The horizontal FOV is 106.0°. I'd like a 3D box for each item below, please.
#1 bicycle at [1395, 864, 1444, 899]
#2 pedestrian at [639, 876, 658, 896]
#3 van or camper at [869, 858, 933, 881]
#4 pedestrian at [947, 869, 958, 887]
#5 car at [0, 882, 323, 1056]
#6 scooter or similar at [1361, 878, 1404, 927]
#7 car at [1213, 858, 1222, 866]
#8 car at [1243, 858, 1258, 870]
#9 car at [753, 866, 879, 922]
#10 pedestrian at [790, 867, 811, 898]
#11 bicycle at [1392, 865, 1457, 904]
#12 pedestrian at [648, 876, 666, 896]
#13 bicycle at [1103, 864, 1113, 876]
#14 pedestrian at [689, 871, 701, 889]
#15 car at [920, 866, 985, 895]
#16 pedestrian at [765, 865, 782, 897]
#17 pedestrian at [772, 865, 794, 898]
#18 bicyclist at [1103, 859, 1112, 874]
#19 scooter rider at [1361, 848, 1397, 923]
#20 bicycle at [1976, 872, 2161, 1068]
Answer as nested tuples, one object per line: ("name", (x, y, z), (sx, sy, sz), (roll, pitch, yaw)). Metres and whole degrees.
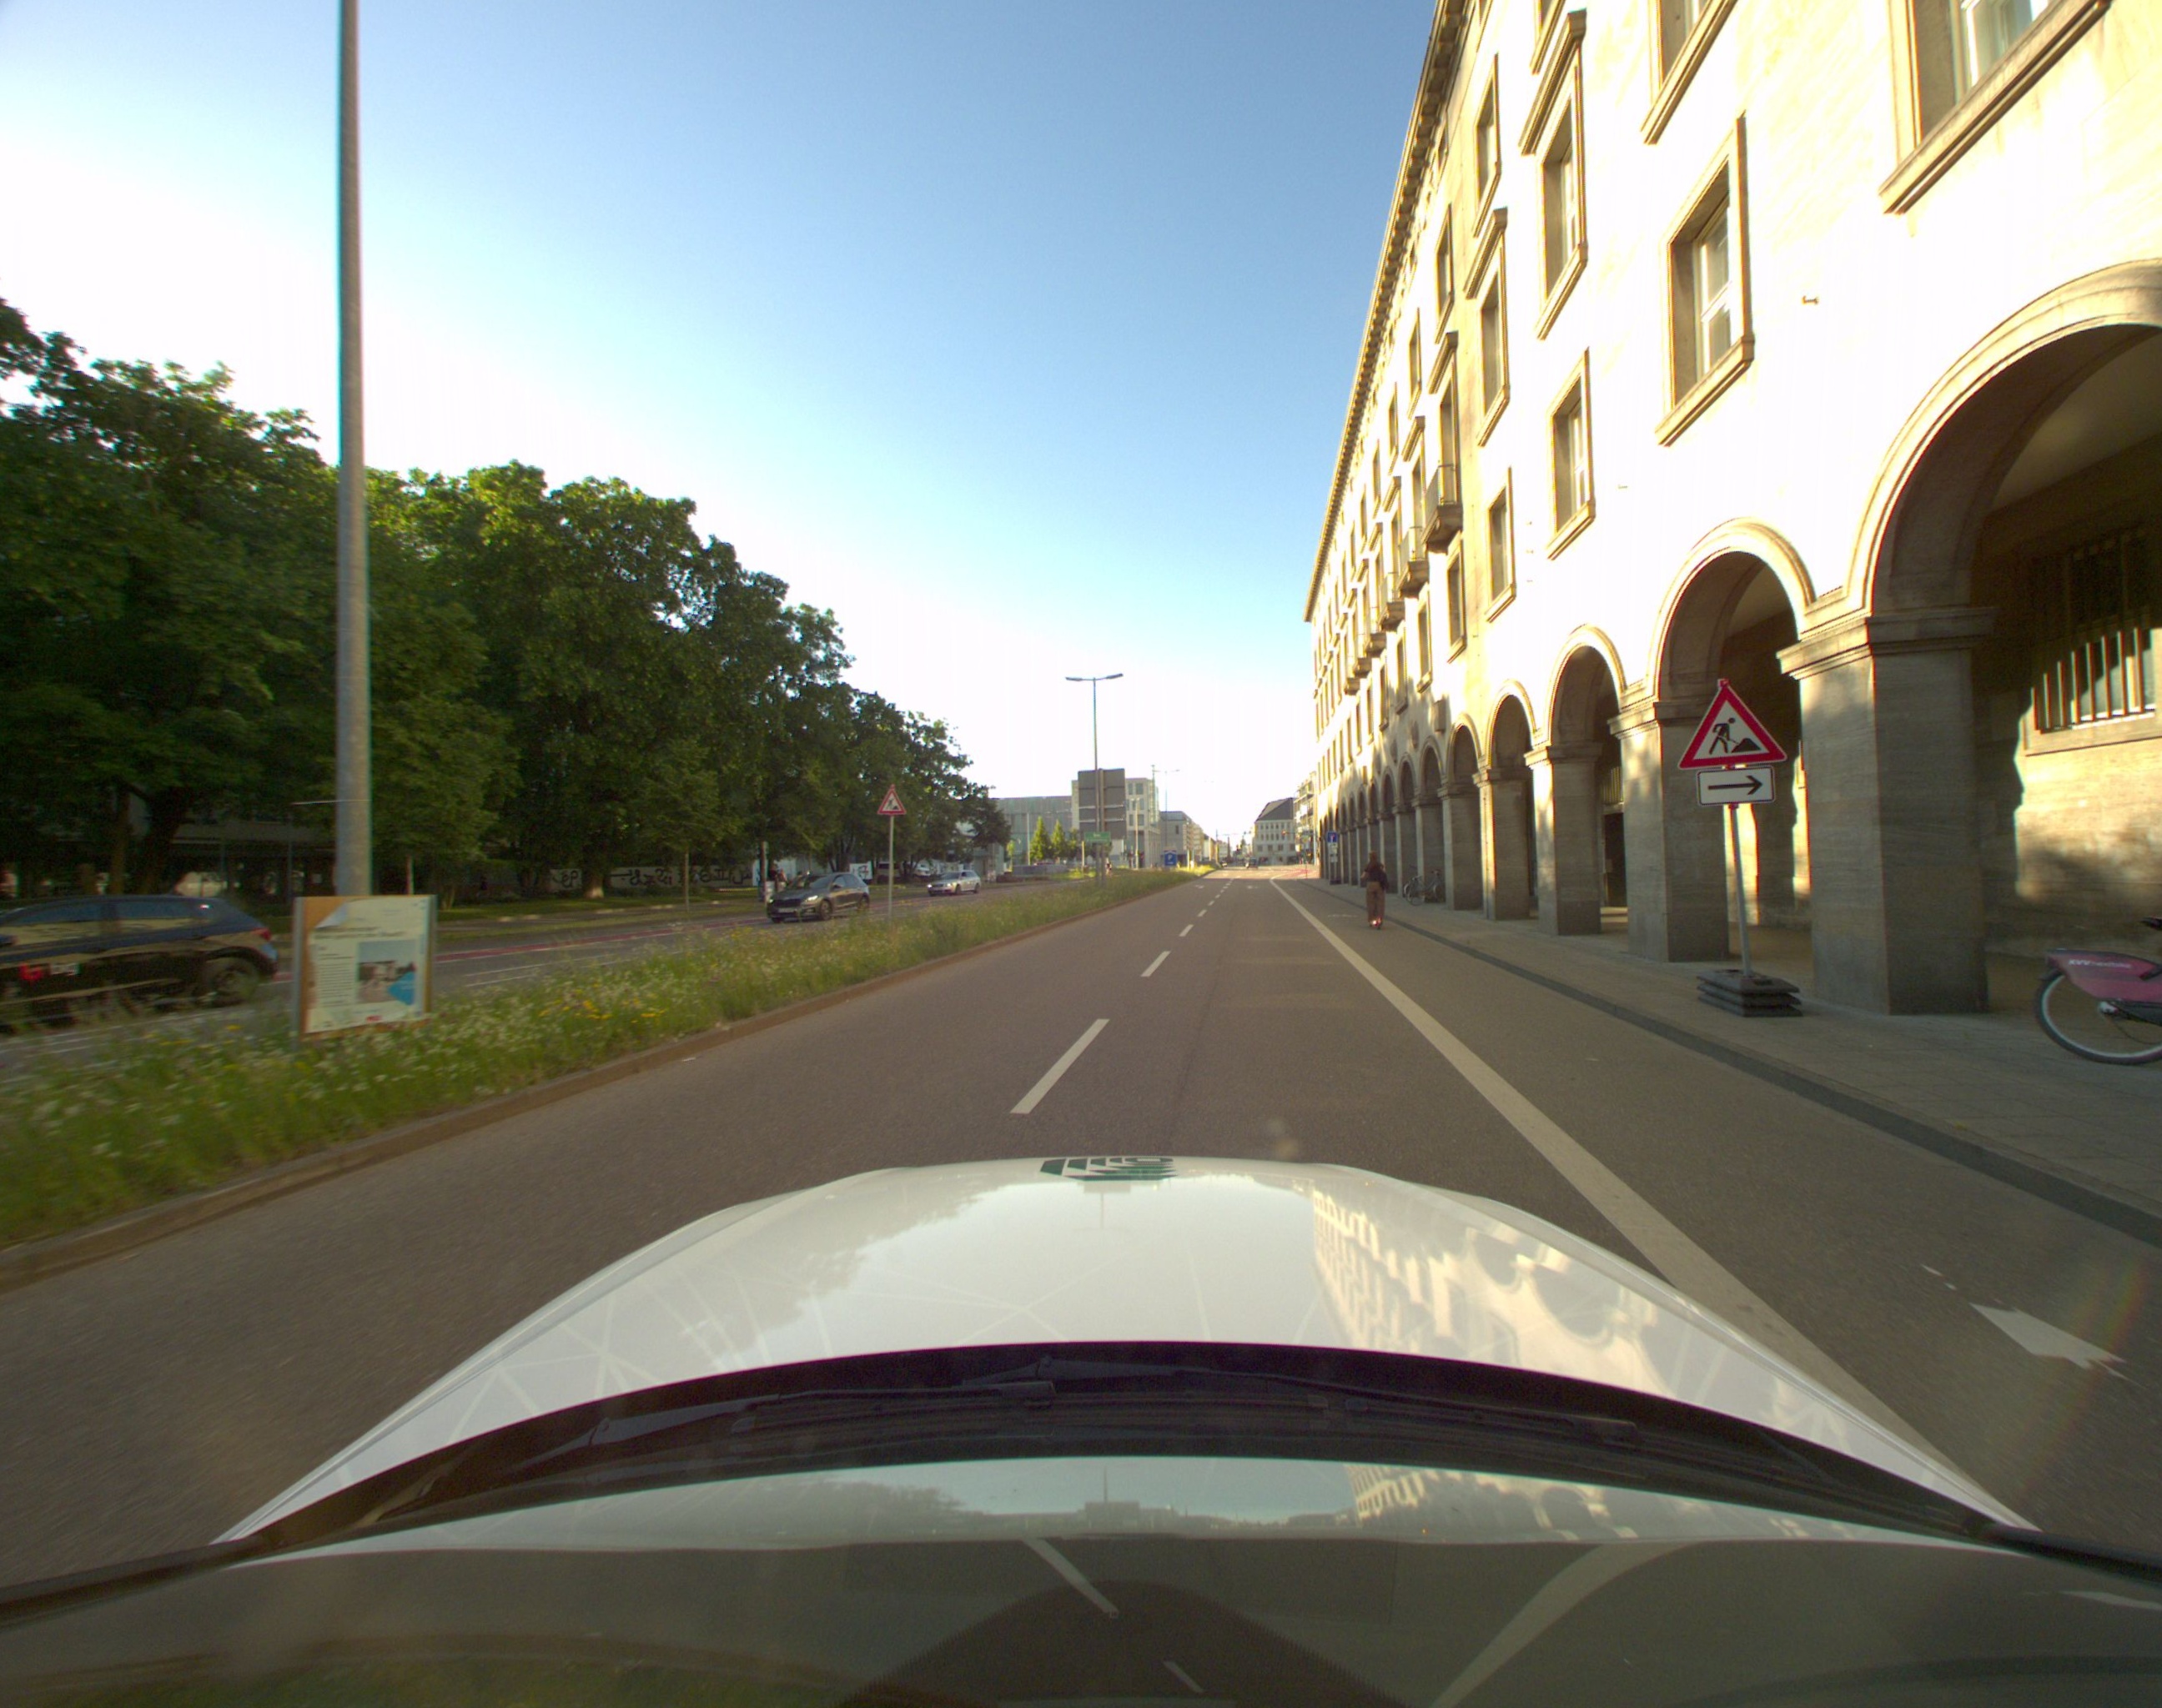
("bicycle", (10.933, 0.883, 26.275), (1.721, 1.050, 0.605), (-2, -1, -36))
("pedestrian", (-32.904, 2.428, 61.992), (0.898, 1.540, 0.896), (-1, -1, 4))
("van or camper", (-17.804, 1.549, 80.618), (5.624, 2.014, 2.265), (-2, -3, 13))
("pedestrian", (-11.395, 2.117, 72.224), (0.608, 1.527, 0.946), (-2, -1, 17))
("car", (-11.700, 1.221, 8.967), (1.980, 1.676, 4.564), (-2, -1, 12))
("scooter or similar", (6.741, 1.067, 18.232), (0.553, 1.031, 1.118), (-1, -1, 2))
("car", (32.241, 1.940, 192.558), (1.980, 1.742, 4.661), (-1, 1, 12))
("car", (24.375, 1.444, 117.188), (1.767, 1.564, 3.796), (-1, -1, 6))
("car", (-8.248, 1.202, 25.806), (1.980, 1.565, 4.073), (-2, -1, 12))
("pedestrian", (-15.007, 1.526, 43.538), (0.737, 1.641, 0.729), (-2, -1, 15))
("bicycle", (10.292, 0.909, 24.429), (1.704, 1.050, 0.527), (-3, -1, -3))
("pedestrian", (-32.775, 2.467, 62.958), (0.898, 1.540, 0.896), (-1, -1, 4))
("bicycle", (3.013, 1.798, 91.551), (0.753, 1.275, 2.266), (-1, 3, 12))
("pedestrian", (-35.329, 2.362, 74.547), (0.718, 1.641, 0.748), (-2, -1, 17))
("car", (-7.467, 1.531, 47.709), (1.918, 1.526, 4.607), (-2, -1, 17))
("pedestrian", (-16.553, 1.451, 43.854), (0.520, 1.740, 0.657), (-2, -1, 15))
("pedestrian", (-15.930, 1.475, 43.527), (0.765, 1.740, 0.764), (-2, -1, 15))
("bicyclist", (3.007, 1.419, 91.633), (0.742, 1.590, 1.206), (-2, 3, 11))
("scooter rider", (6.726, 0.704, 18.421), (0.559, 1.632, 0.650), (-1, -1, 3))
("bicycle", (6.756, 0.688, 4.940), (0.667, 1.133, 1.693), (-2, -1, -38))
